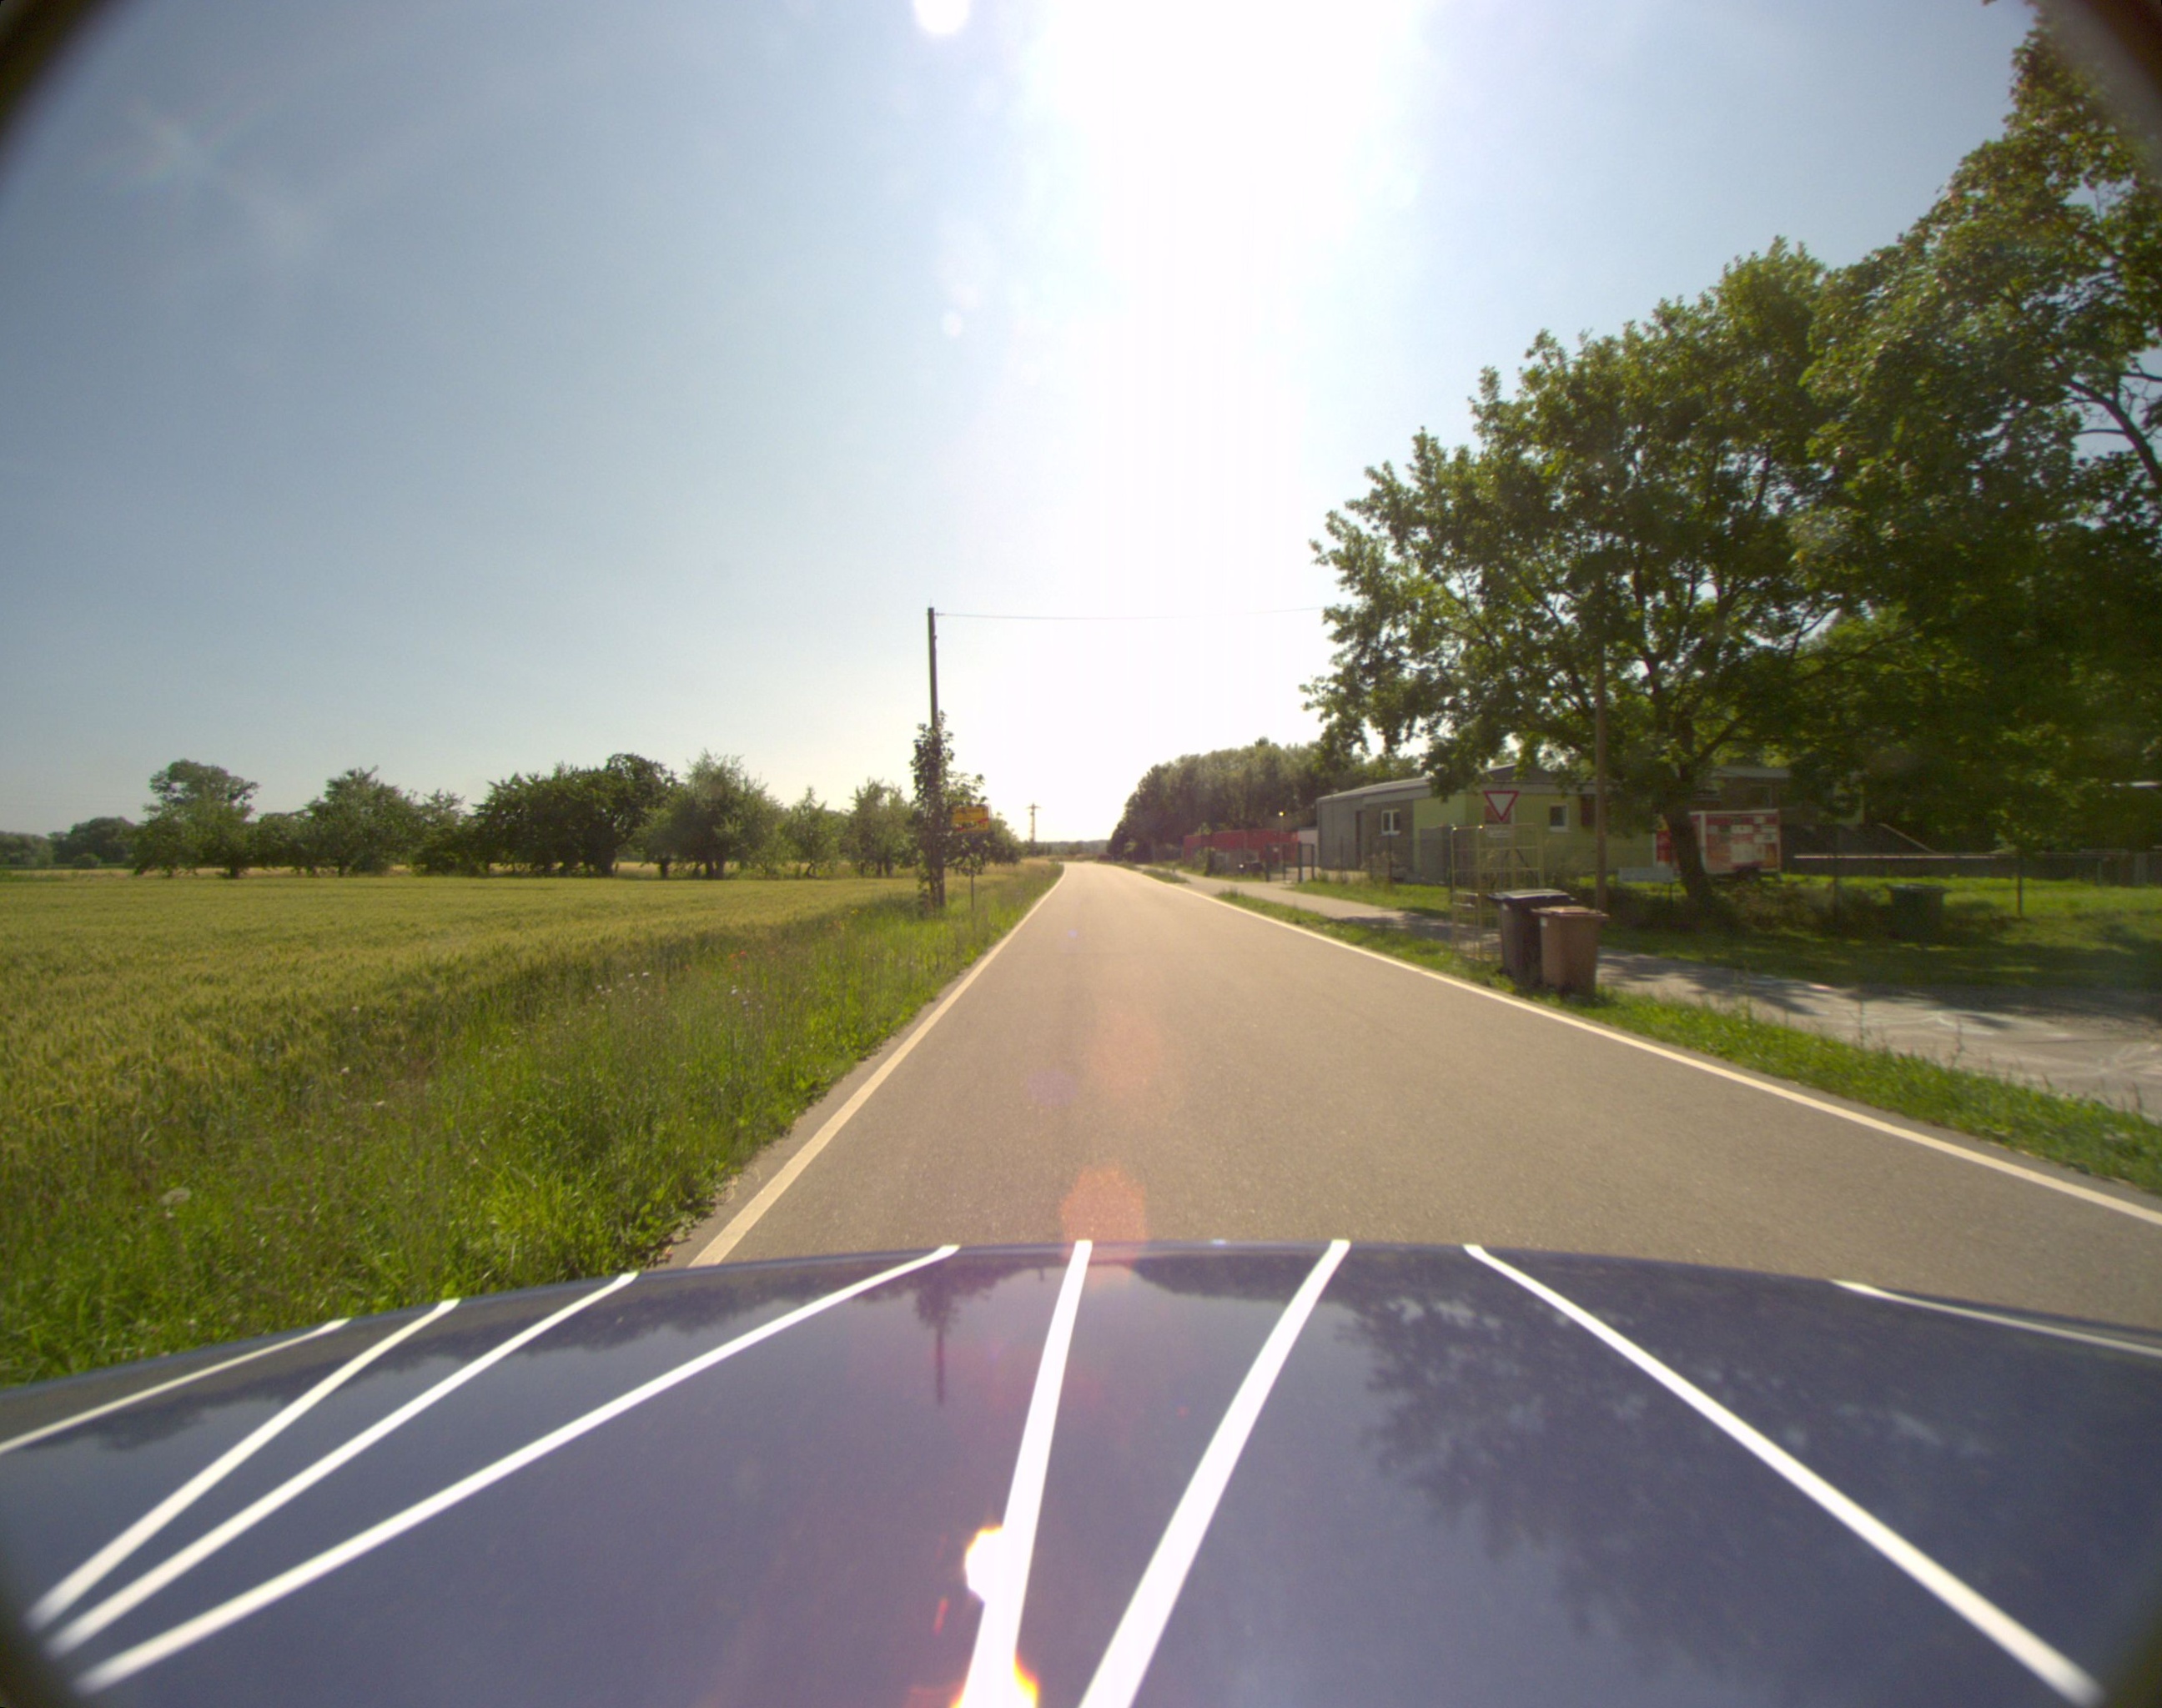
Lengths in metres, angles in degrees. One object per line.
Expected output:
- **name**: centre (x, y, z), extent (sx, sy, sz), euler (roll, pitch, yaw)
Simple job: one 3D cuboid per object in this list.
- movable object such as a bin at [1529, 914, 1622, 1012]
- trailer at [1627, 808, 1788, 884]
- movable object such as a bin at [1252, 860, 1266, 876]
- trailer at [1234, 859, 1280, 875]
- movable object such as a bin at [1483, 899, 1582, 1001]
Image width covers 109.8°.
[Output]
- **movable object such as a bin**: centre (4.871, 1.059, 7.511), extent (0.563, 0.872, 0.614), euler (0, 1, 8)
- **trailer**: centre (19.931, -0.255, 24.209), extent (4.240, 2.264, 1.826), euler (0, 0, -15)
- **movable object such as a bin**: centre (9.530, 0.754, 40.614), extent (0.640, 0.849, 0.654), euler (0, 1, 6)
- **trailer**: centre (10.163, 0.746, 44.117), extent (1.636, 0.861, 3.356), euler (0, 0, -6)
- **movable object such as a bin**: centre (4.926, 1.023, 8.337), extent (0.700, 1.018, 0.748), euler (0, 1, 8)
